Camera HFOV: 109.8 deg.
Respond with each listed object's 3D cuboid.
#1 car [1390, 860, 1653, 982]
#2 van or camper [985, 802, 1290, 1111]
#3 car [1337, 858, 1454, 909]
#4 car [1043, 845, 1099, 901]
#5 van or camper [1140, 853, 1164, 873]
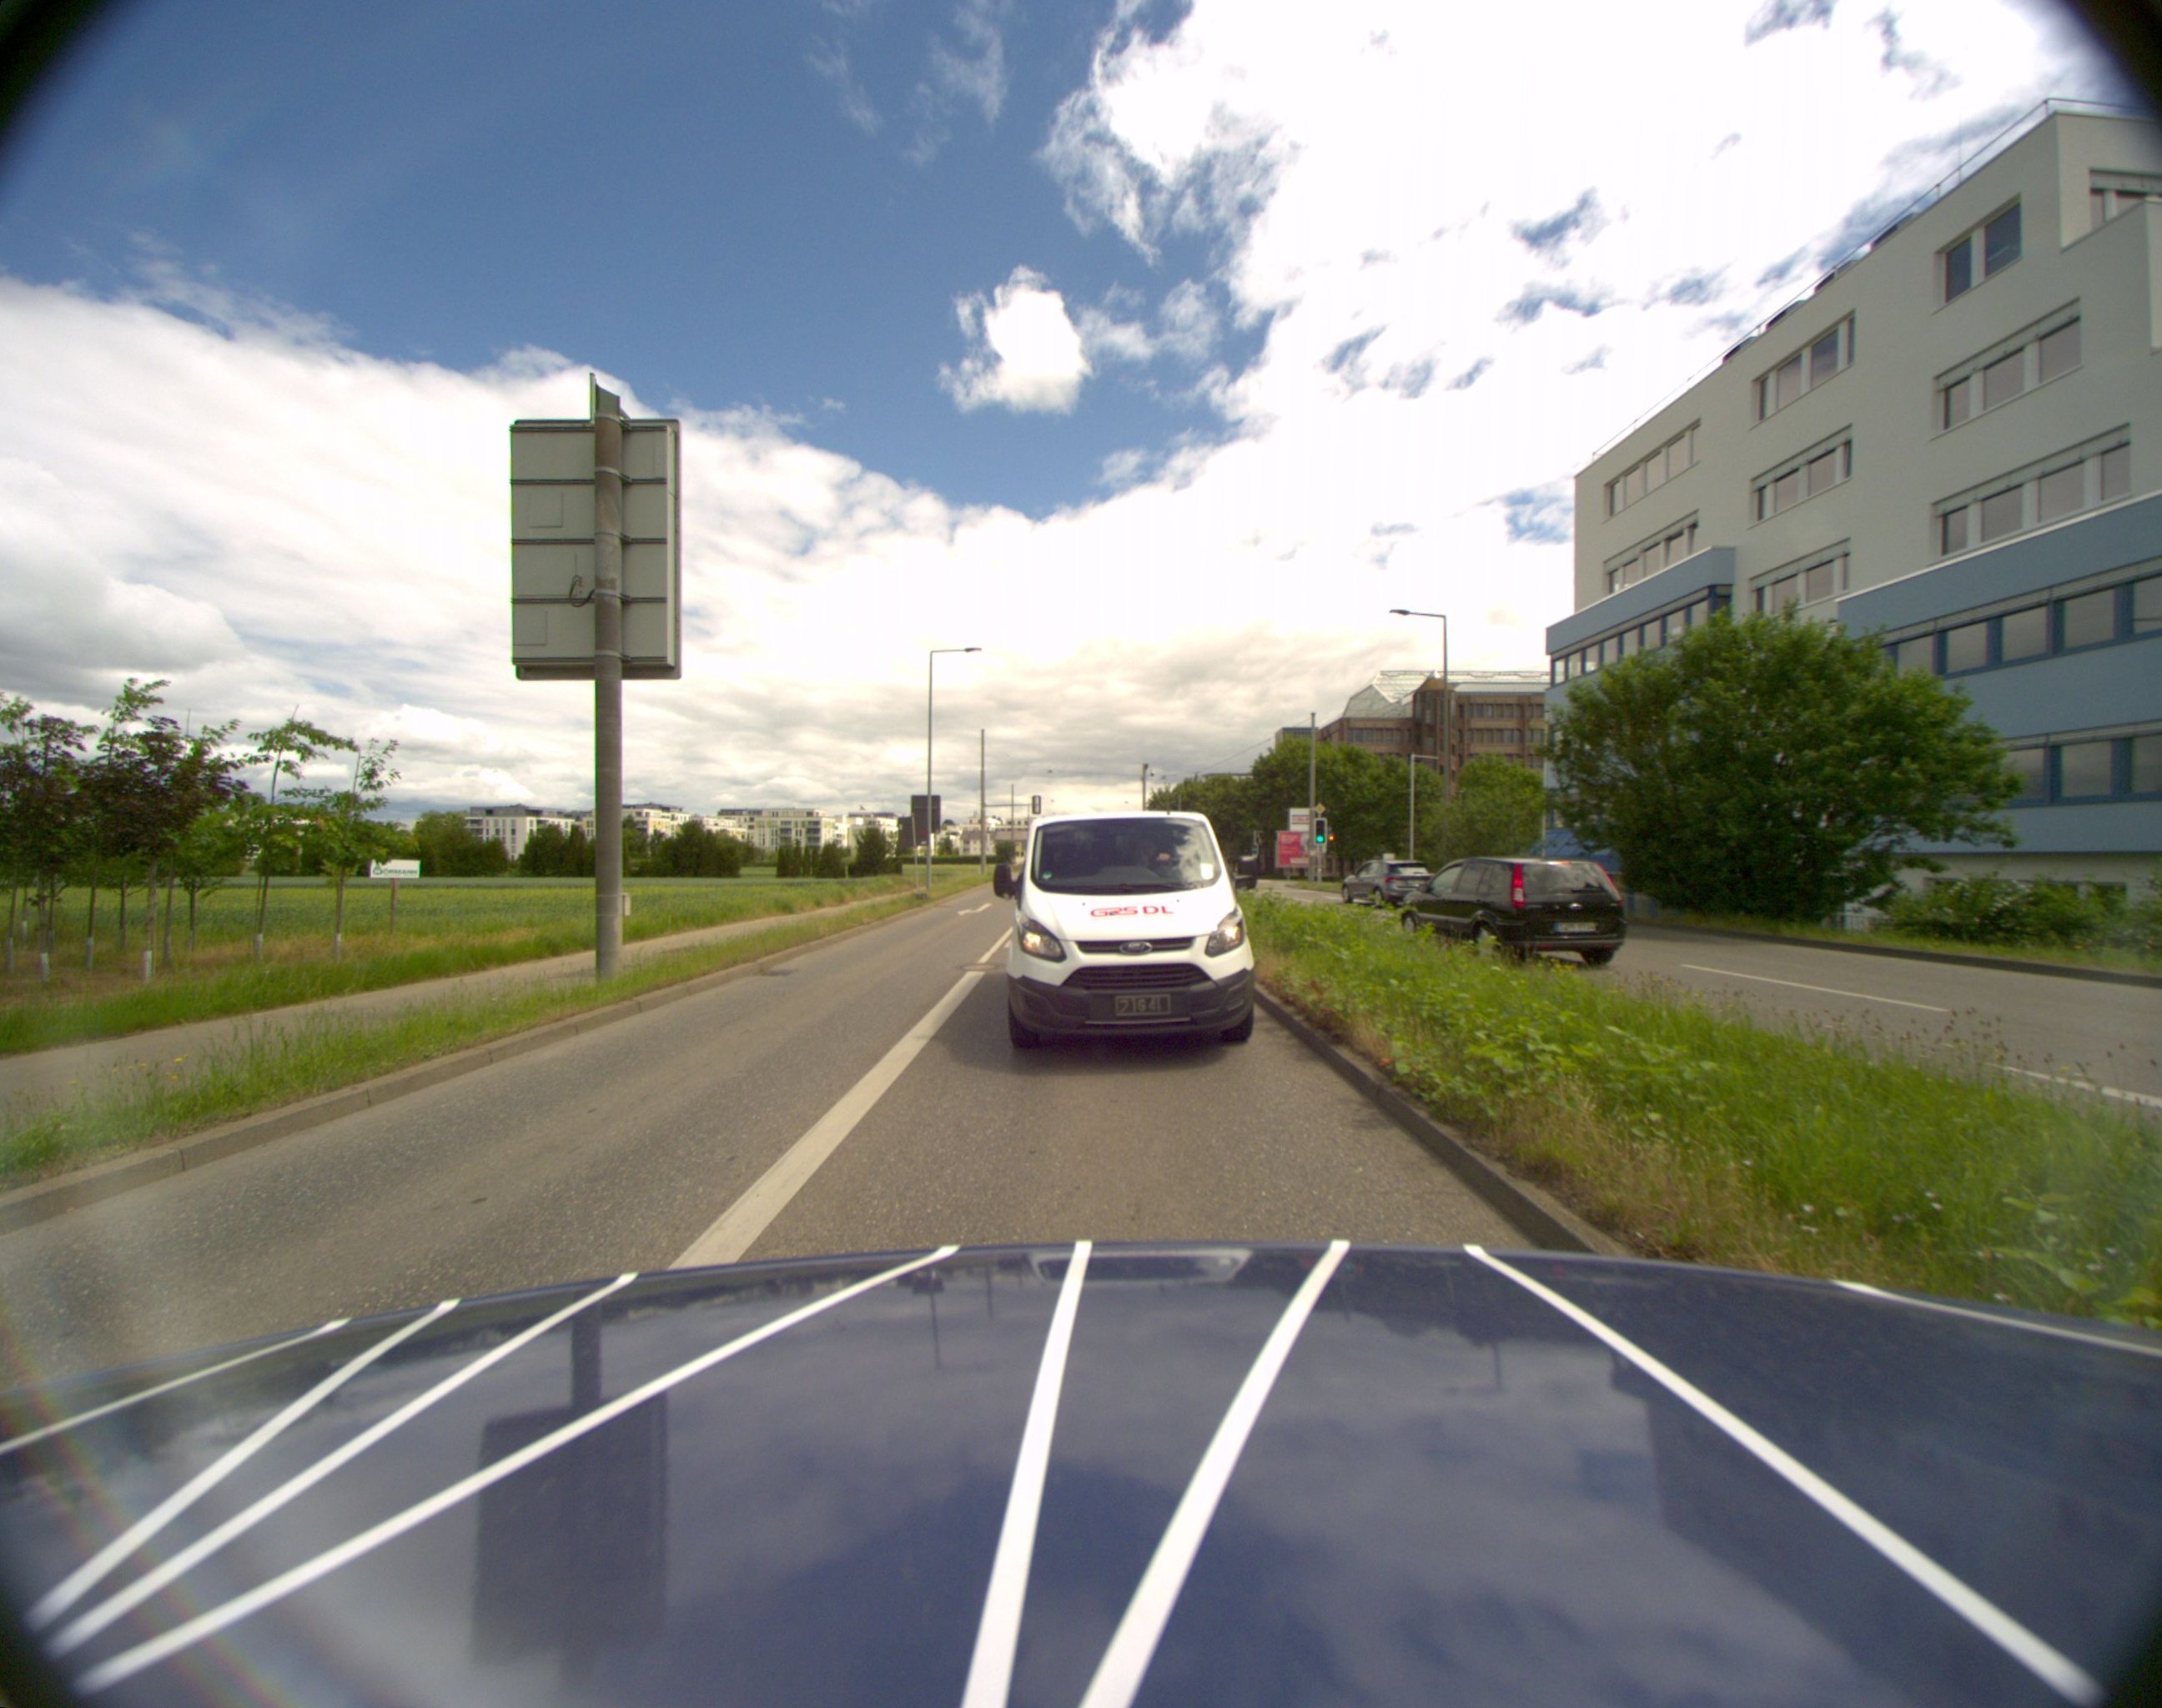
[{"bbox_3d":[6.334,0.861,11.519,1.683,1.473,4.000,-1,0,0],"label":"car"},{"bbox_3d":[0.268,0.673,7.859,1.999,2.002,5.798,0,0,-2],"label":"van or camper"},{"bbox_3d":[9.532,0.840,23.394,1.937,1.390,4.000,-1,0,0],"label":"car"},{"bbox_3d":[-0.338,0.684,29.281,1.998,2.002,4.000,0,0,1],"label":"car"},{"bbox_3d":[7.697,0.944,82.619,1.999,2.002,4.814,0,0,-3],"label":"van or camper"}]
